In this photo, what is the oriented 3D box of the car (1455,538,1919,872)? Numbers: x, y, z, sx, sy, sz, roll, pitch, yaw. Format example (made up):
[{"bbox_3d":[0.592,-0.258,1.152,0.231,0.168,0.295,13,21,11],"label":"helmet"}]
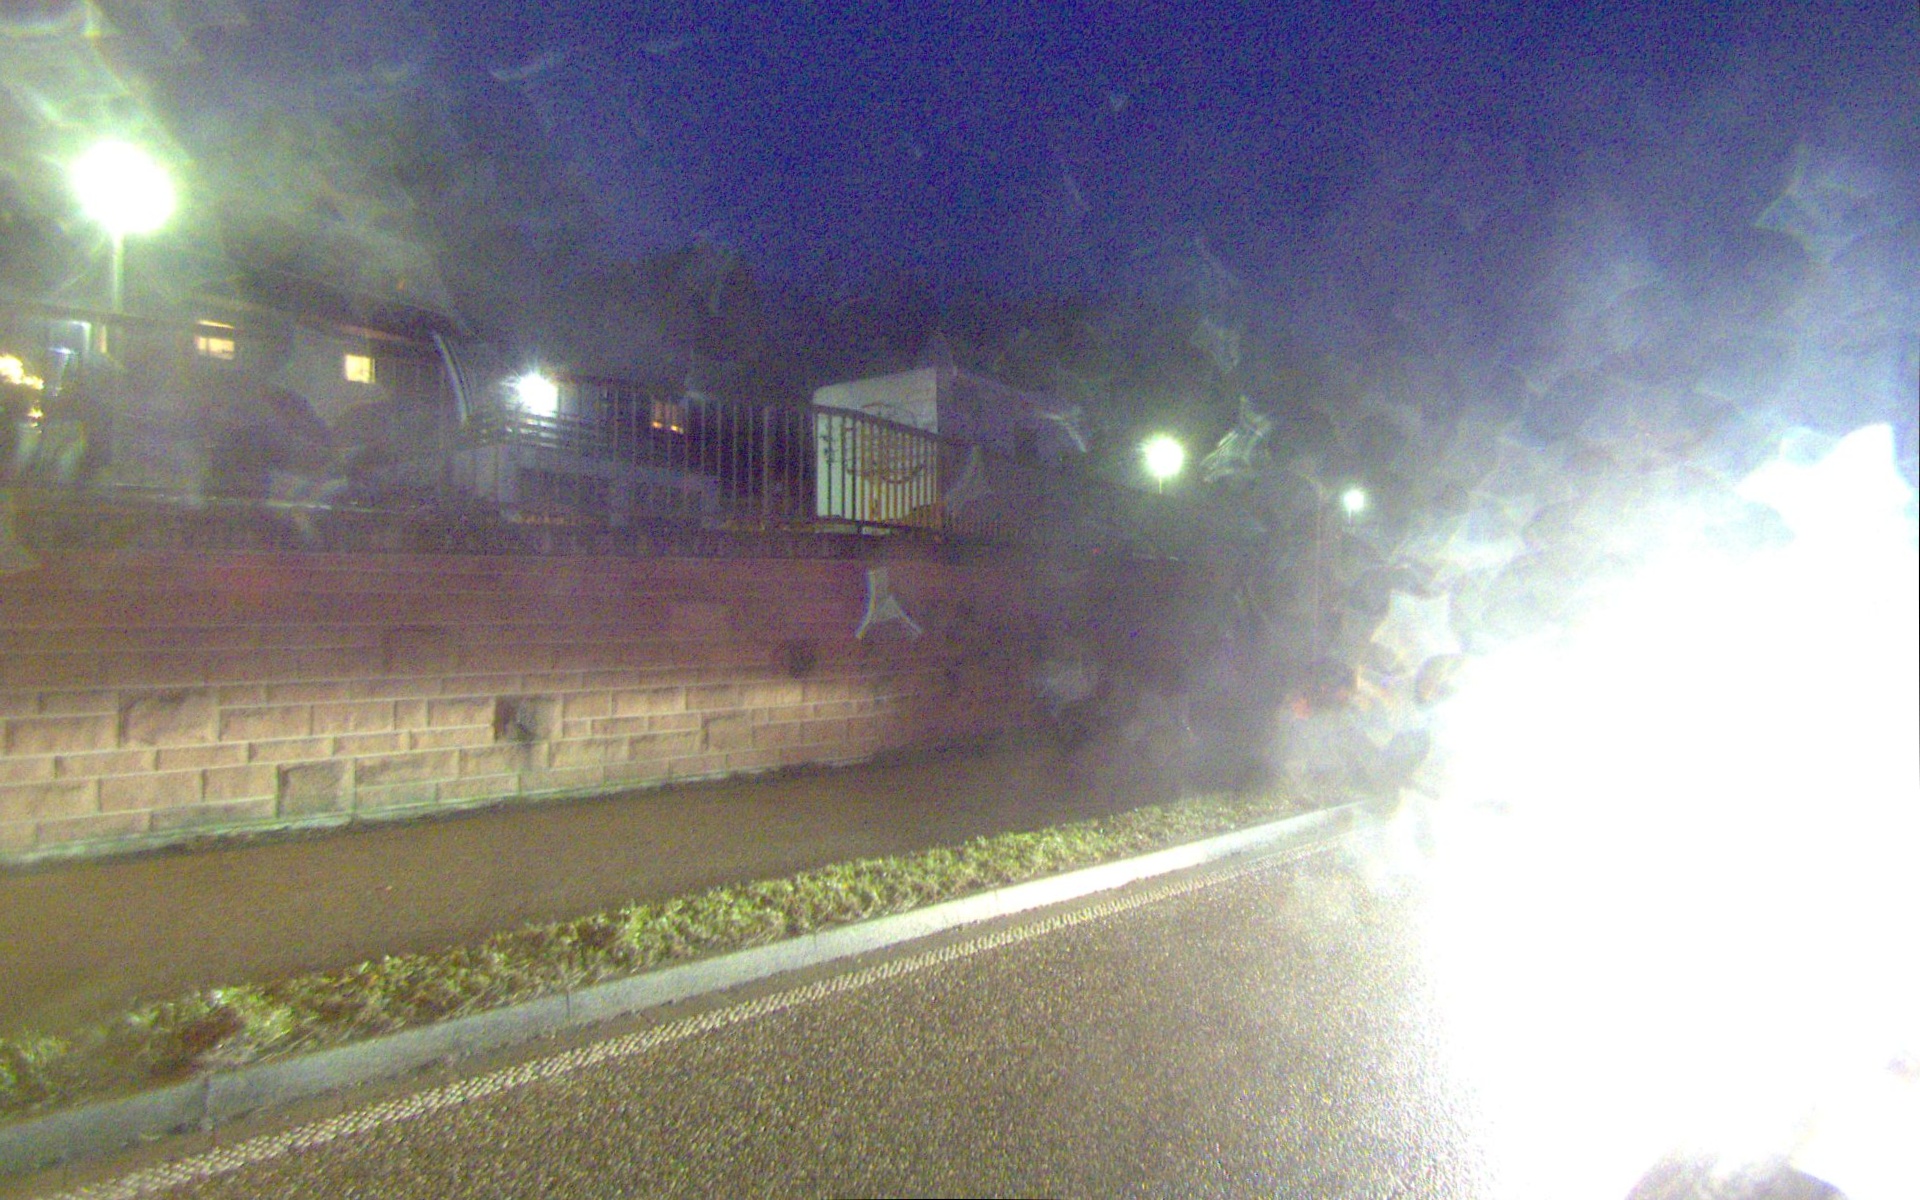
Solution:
[{"bbox_3d":[5.923,0.524,7.411,4.844,1.757,1.842,-1,0,-32],"label":"car"}]

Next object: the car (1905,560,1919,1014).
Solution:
[{"bbox_3d":[5.568,0.639,4.303,4.278,1.602,1.825,-1,0,-41],"label":"car"}]

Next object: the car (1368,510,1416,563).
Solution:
[{"bbox_3d":[25.128,-3.625,58.748,1.922,2.809,4.206,0,0,32],"label":"car"}]

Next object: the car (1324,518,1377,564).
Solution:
[{"bbox_3d":[19.241,-2.847,49.790,1.721,2.039,3.658,0,0,32],"label":"car"}]

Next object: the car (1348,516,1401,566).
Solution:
[{"bbox_3d":[22.253,-3.112,54.233,1.922,2.451,4.206,0,0,32],"label":"car"}]

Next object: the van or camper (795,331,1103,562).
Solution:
[{"bbox_3d":[0.102,-2.113,16.234,2.395,2.828,5.712,0,0,30],"label":"van or camper"}]

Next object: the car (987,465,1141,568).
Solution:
[{"bbox_3d":[2.484,-1.805,23.279,1.985,2.039,3.954,0,0,32],"label":"car"}]
